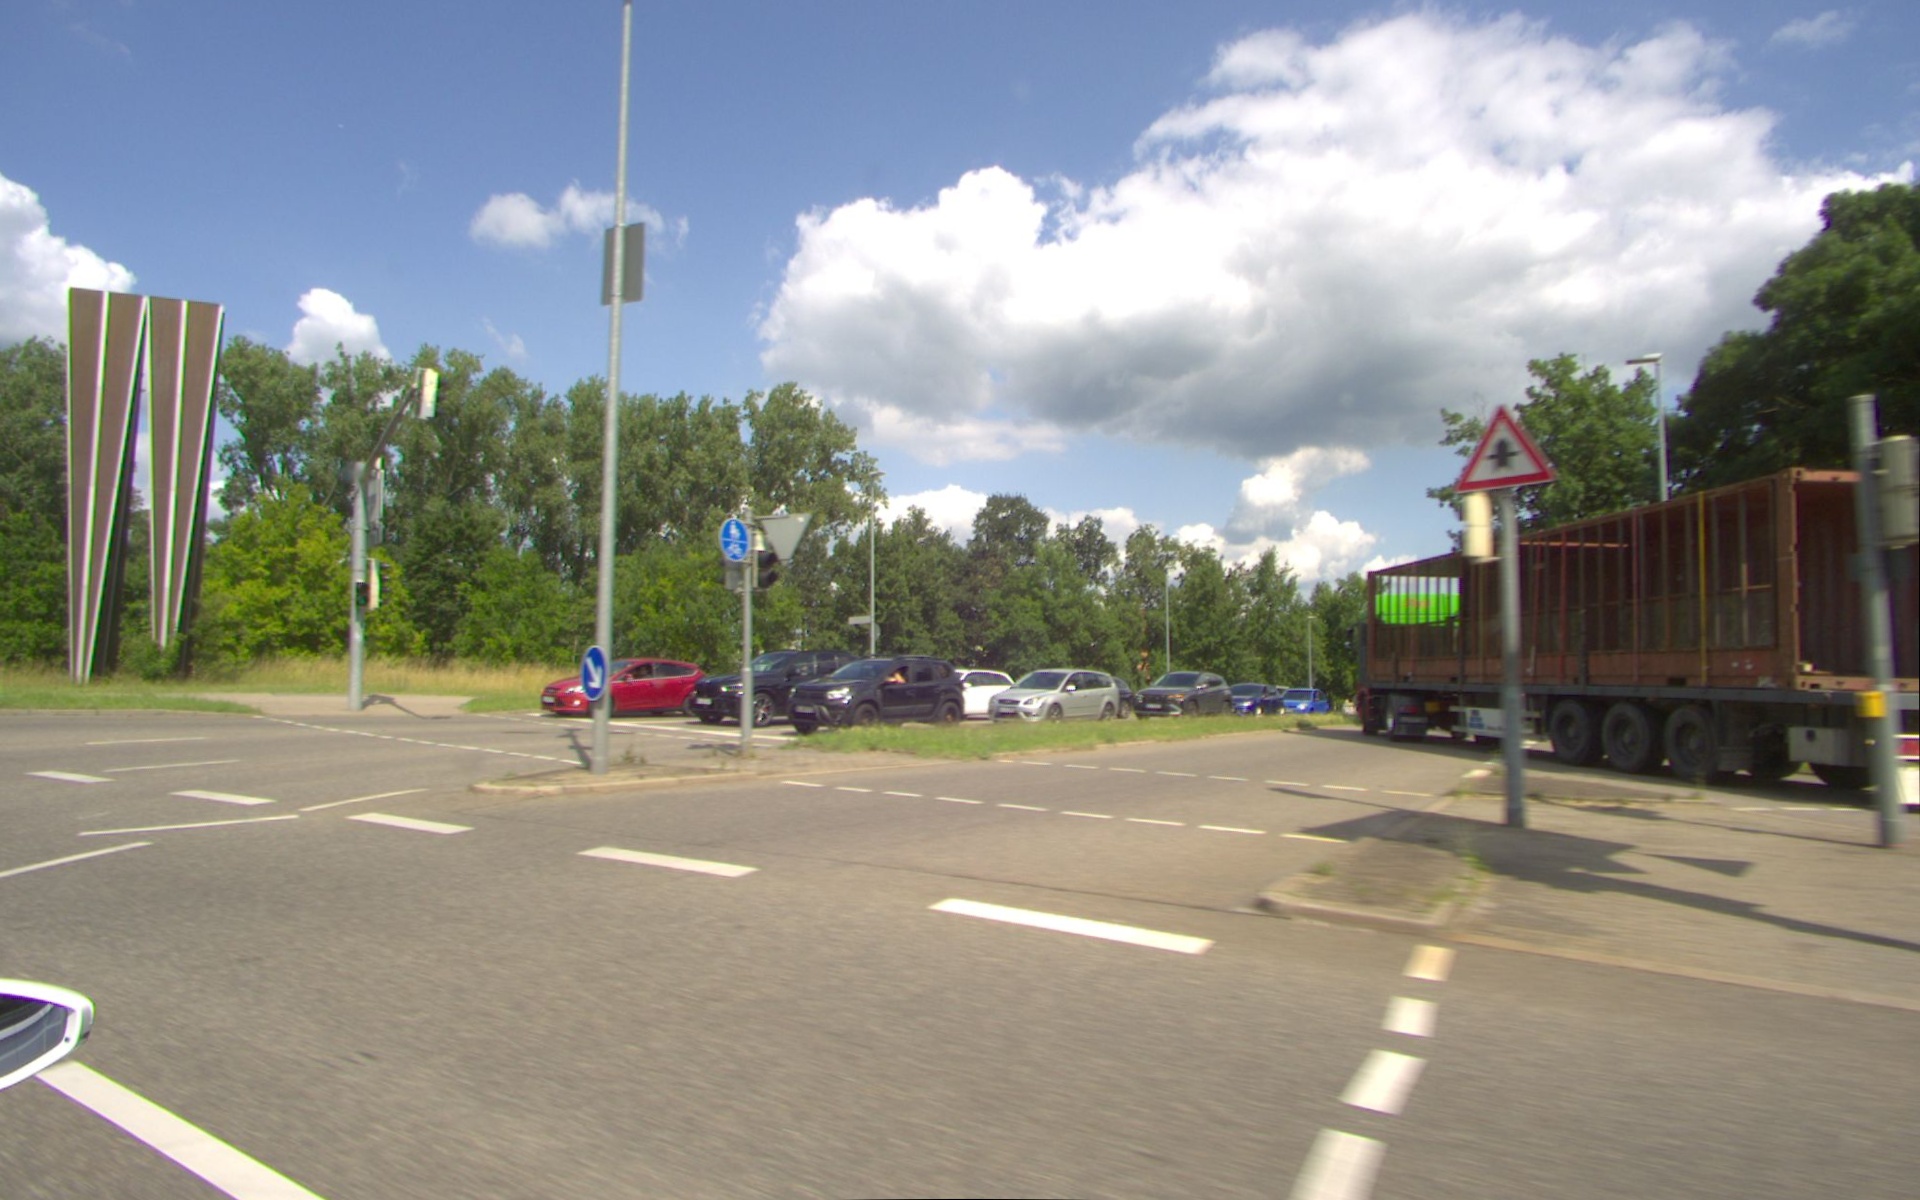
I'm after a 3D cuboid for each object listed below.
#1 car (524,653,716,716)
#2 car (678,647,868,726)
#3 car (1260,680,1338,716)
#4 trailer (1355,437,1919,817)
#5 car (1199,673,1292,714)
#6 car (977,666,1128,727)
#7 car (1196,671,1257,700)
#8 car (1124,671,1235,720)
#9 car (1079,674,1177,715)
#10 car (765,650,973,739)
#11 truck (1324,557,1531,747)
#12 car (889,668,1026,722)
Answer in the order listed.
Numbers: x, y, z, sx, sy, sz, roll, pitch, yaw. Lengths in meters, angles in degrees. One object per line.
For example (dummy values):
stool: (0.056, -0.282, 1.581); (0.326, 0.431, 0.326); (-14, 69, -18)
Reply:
car: (-8.296, 2.091, 24.743); (1.738, 1.392, 4.188); (-1, -5, 39)
car: (-4.312, 2.021, 23.594); (1.816, 1.665, 4.188); (-1, -5, 39)
car: (14.476, 4.153, 42.622); (1.858, 1.392, 4.023); (-1, -5, 39)
trailer: (10.932, 0.818, 17.304); (2.596, 3.937, 13.865); (2, -4, 0)
car: (10.630, 3.462, 37.116); (1.858, 1.392, 4.023); (-1, -5, 39)
car: (2.469, 2.459, 25.696); (1.626, 1.392, 4.513); (-1, -5, 39)
car: (14.730, 4.674, 55.256); (1.844, 1.482, 3.974); (-2, -4, 38)
car: (7.087, 3.034, 32.061); (1.858, 1.392, 4.023); (-1, -5, 39)
car: (6.230, 3.459, 36.770); (1.680, 1.392, 4.188); (-1, -5, 39)
car: (-1.767, 1.930, 20.720); (1.823, 1.635, 4.267); (-3, -6, 39)
truck: (10.951, 1.347, 24.153); (2.822, 3.949, 5.885); (1, -5, 7)
car: (0.011, 2.695, 28.648); (1.626, 1.392, 4.188); (-1, -5, 39)
